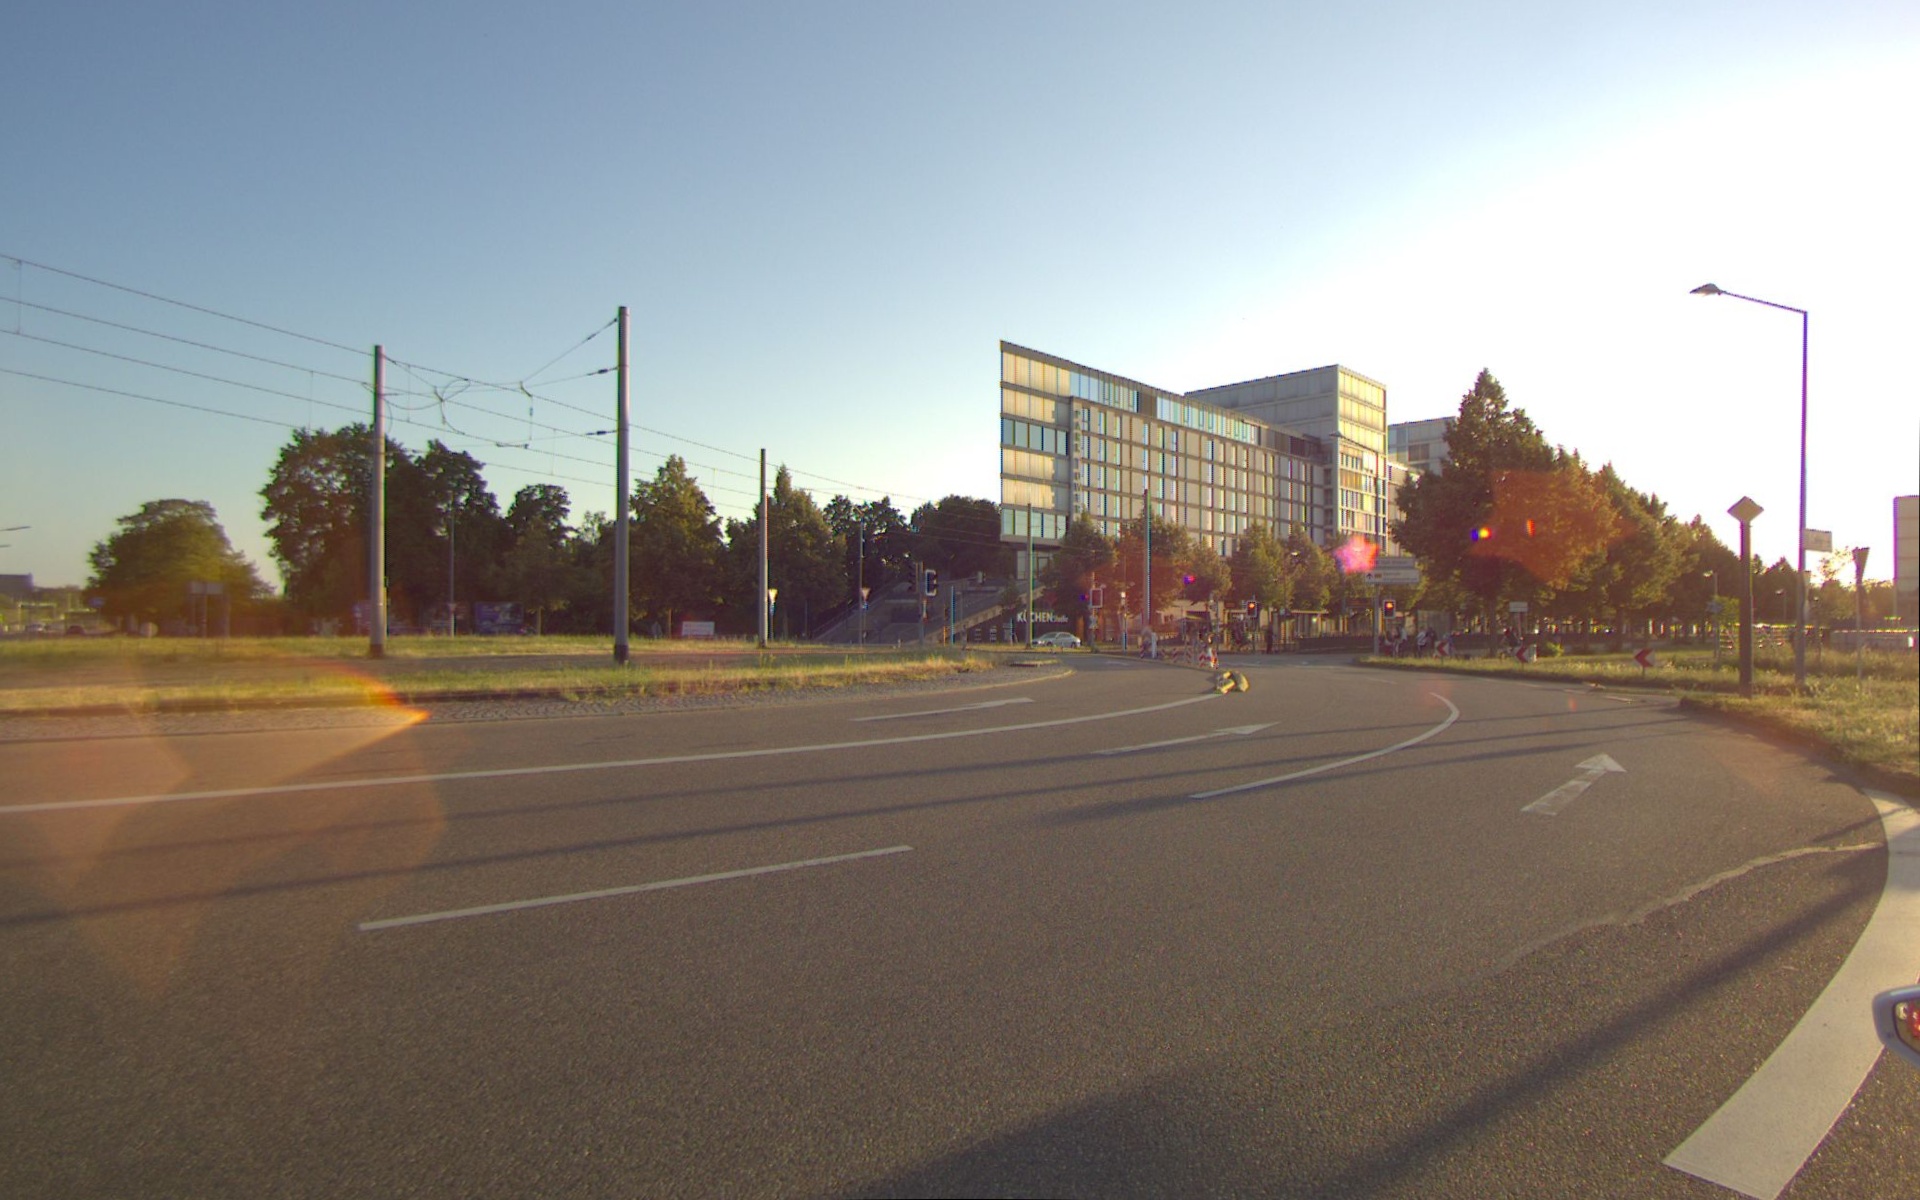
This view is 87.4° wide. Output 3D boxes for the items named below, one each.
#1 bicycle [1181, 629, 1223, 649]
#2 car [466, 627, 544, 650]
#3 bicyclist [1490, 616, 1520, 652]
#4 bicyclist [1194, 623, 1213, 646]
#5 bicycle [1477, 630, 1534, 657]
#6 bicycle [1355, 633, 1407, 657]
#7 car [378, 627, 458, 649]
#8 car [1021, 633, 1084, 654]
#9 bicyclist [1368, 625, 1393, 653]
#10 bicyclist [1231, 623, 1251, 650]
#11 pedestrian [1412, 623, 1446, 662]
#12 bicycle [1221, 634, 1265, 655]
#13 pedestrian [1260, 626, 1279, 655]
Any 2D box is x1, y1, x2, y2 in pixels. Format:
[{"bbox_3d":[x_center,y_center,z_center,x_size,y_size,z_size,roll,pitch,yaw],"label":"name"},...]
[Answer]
[{"bbox_3d":[14.544,2.326,60.344,2.370,1.182,0.752,0,-1,36],"label":"bicycle"},{"bbox_3d":[-29.051,2.430,64.155,4.233,1.451,1.946,-1,-1,15],"label":"car"},{"bbox_3d":[24.939,1.541,45.964,0.743,1.634,0.973,1,-1,-20],"label":"bicyclist"},{"bbox_3d":[14.627,2.062,60.333,0.865,1.411,0.752,0,-1,36],"label":"bicyclist"},{"bbox_3d":[24.949,1.963,45.979,0.743,1.182,2.399,1,-1,-19],"label":"bicycle"},{"bbox_3d":[21.237,2.254,50.726,0.748,1.182,2.382,1,-1,-39],"label":"bicycle"},{"bbox_3d":[-35.497,2.481,65.820,4.502,1.451,1.946,-1,-1,14],"label":"car"},{"bbox_3d":[7.250,3.330,78.034,5.166,1.565,1.975,2,-2,-43],"label":"car"},{"bbox_3d":[21.228,1.962,50.709,0.748,1.412,0.967,1,-1,-39],"label":"bicyclist"},{"bbox_3d":[16.509,2.121,59.071,0.962,1.545,0.753,0,-1,33],"label":"bicyclist"},{"bbox_3d":[22.616,2.020,48.450,0.965,1.851,1.155,1,-1,-23],"label":"pedestrian"},{"bbox_3d":[16.614,2.624,58.976,2.368,1.182,0.752,0,-1,33],"label":"bicycle"},{"bbox_3d":[18.763,2.431,60.949,0.875,1.730,0.791,0,-1,39],"label":"pedestrian"}]
